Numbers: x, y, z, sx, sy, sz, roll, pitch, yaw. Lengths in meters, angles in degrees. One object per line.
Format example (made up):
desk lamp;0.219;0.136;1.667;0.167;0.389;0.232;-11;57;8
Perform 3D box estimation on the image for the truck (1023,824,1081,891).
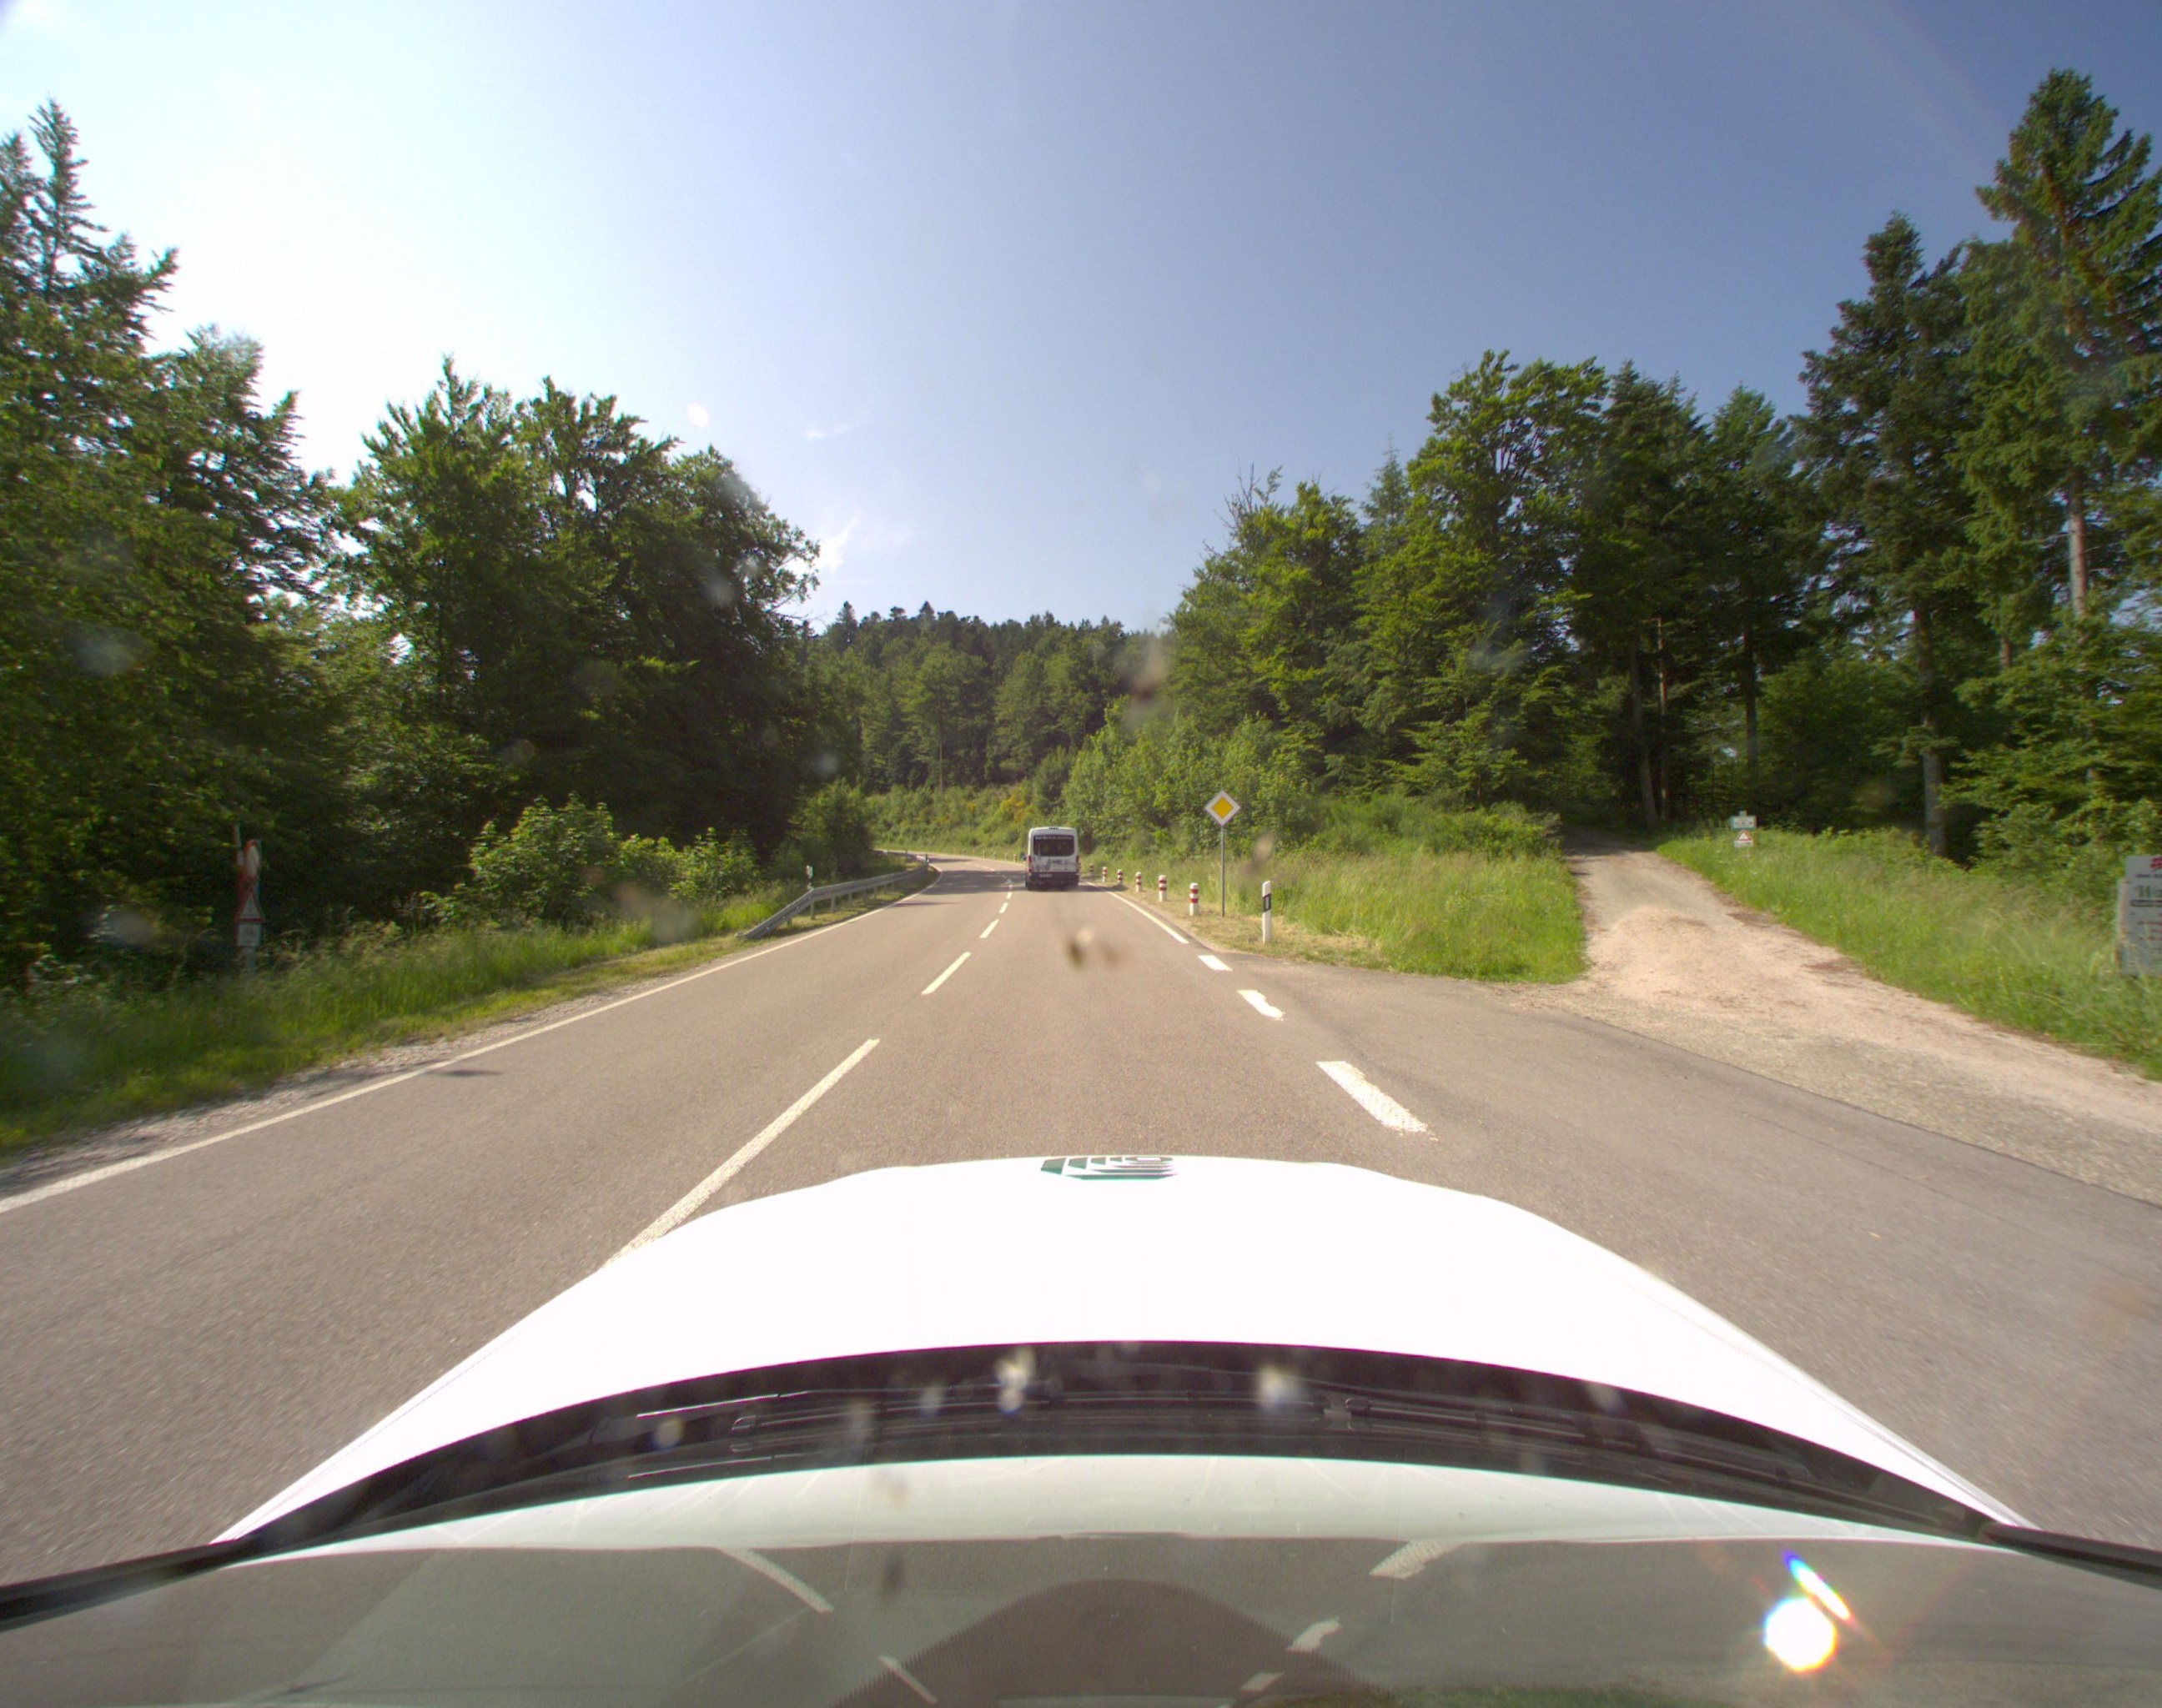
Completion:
truck;-1.272;0.095;33.411;2.112;2.498;5.351;-1;1;-5
